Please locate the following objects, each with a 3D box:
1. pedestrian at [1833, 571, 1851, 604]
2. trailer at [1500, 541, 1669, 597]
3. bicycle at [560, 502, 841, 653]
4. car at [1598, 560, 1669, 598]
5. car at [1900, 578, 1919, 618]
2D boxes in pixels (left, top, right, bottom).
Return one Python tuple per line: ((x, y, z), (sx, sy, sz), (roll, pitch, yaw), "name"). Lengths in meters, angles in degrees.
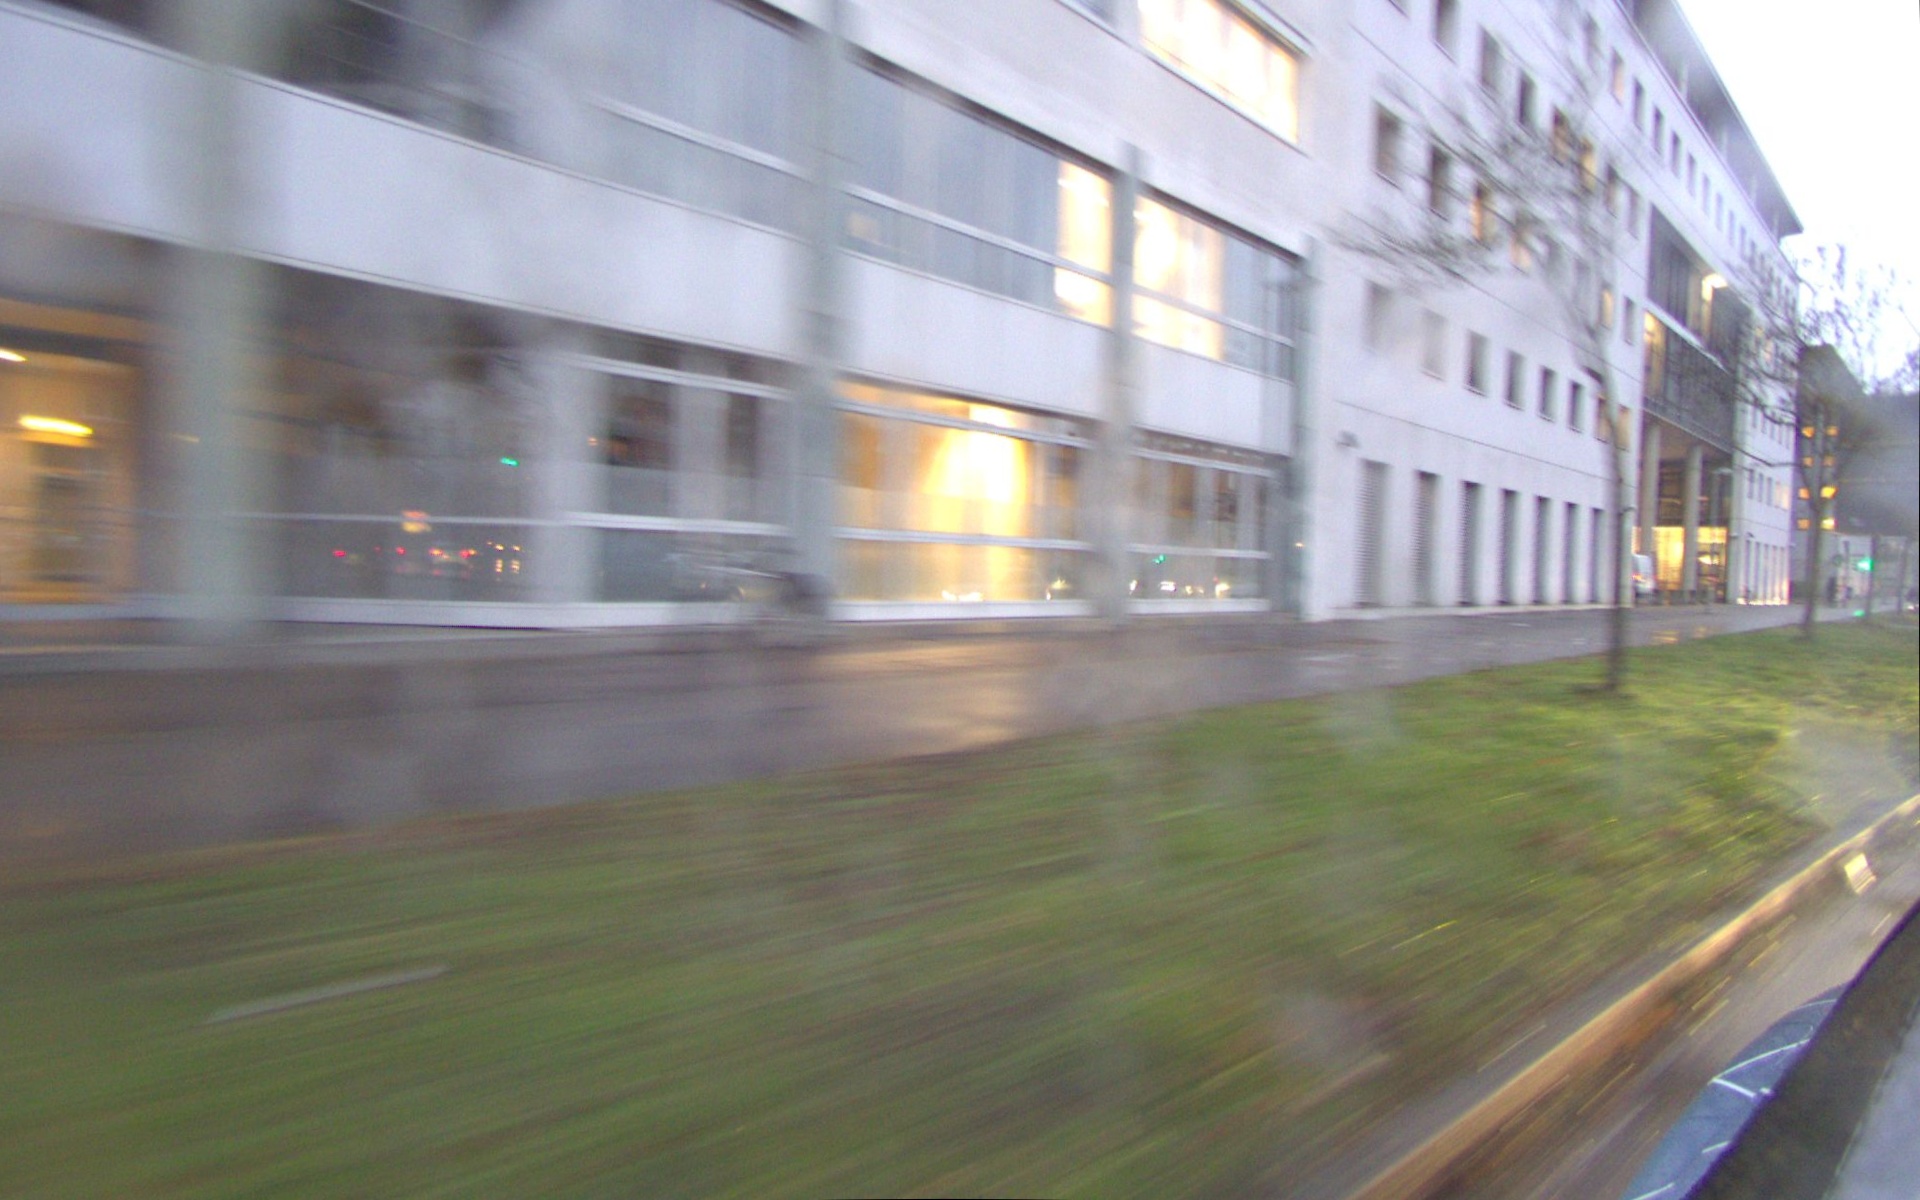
((48.205, -0.676, 55.317), (0.737, 1.757, 0.692), (0, 2, 44), "pedestrian")
((23.747, -1.187, 38.667), (2.091, 1.935, 5.082), (1, 1, -37), "trailer")
((-2.438, -0.208, 9.580), (2.407, 1.288, 0.827), (1, 5, -27), "bicycle")
((27.792, -0.899, 41.695), (1.633, 1.387, 4.460), (5, 5, 44), "car")
((37.647, -0.110, 39.203), (4.159, 1.458, 1.597), (-2, 2, -44), "car")
